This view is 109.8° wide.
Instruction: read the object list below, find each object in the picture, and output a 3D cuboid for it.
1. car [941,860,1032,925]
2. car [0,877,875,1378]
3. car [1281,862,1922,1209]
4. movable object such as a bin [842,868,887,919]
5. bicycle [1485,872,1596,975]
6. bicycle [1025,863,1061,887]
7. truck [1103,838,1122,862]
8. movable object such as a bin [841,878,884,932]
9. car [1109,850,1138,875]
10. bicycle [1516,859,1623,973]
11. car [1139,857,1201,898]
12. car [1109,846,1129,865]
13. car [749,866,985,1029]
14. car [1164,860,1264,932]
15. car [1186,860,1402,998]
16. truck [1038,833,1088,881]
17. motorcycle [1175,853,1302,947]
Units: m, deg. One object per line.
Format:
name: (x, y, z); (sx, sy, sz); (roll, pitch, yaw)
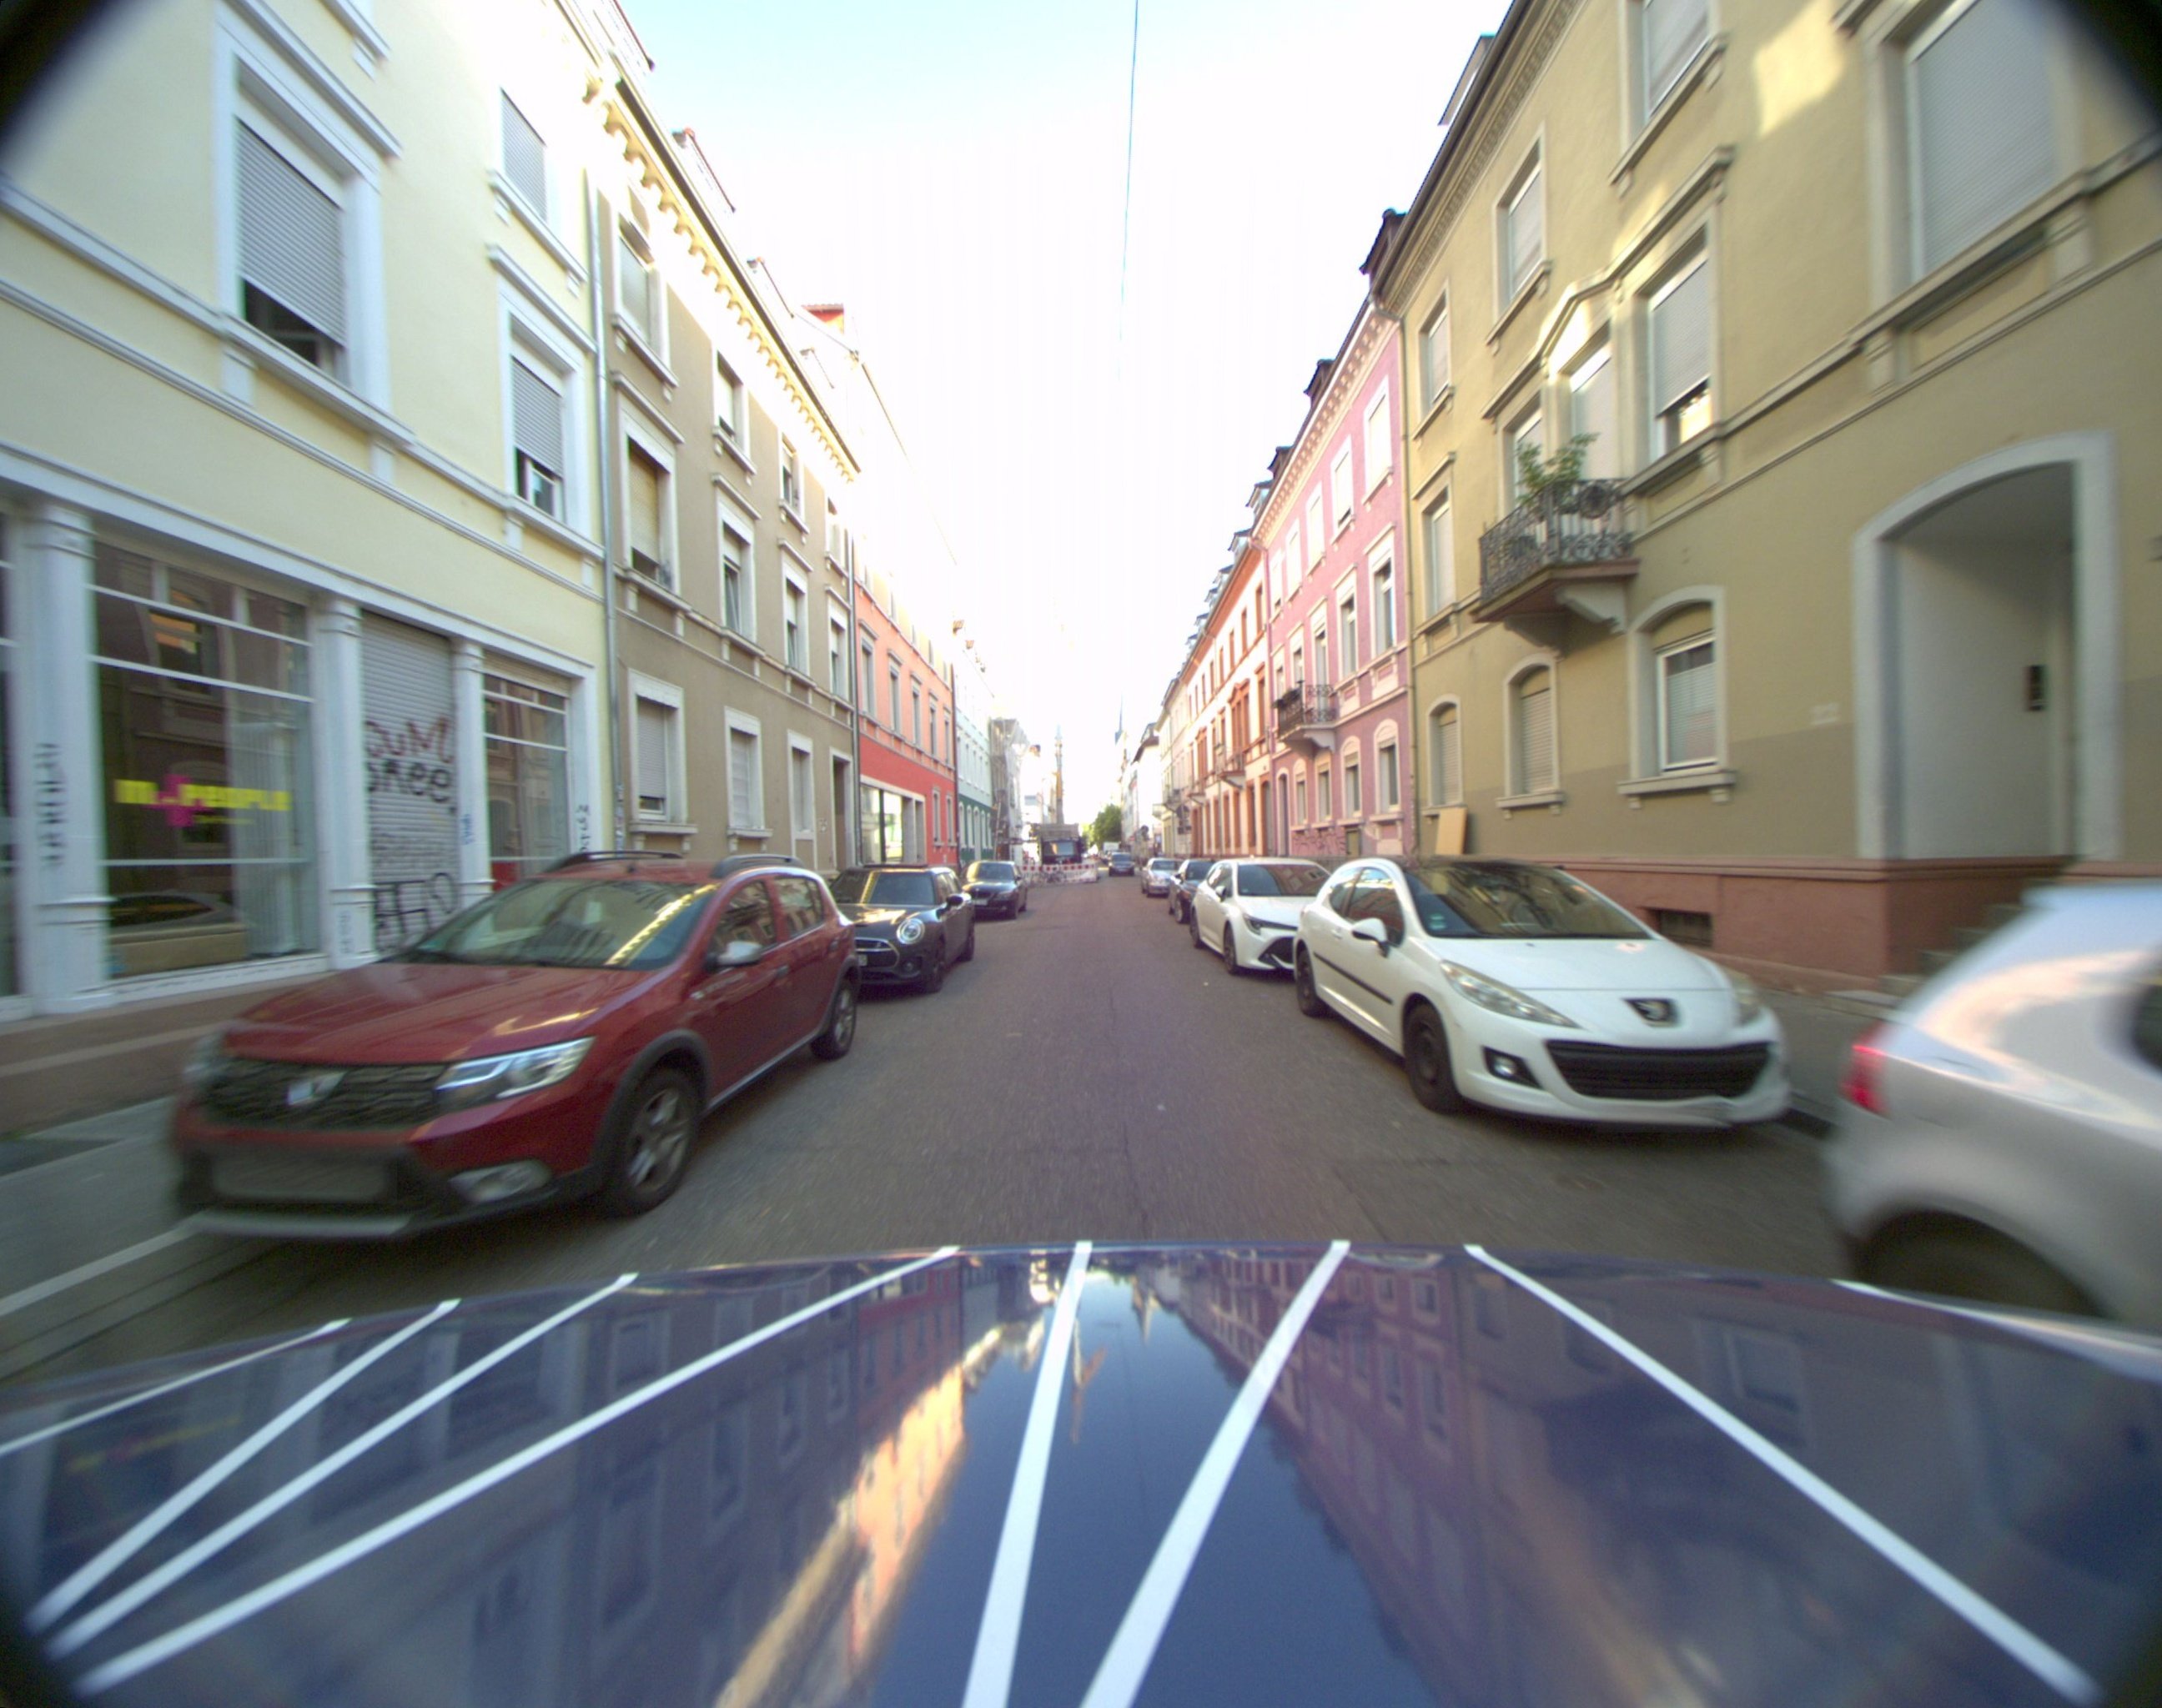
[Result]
car: (-2.405, 0.945, 20.462); (1.831, 1.474, 4.464); (-1, 0, 1)
car: (-2.739, 0.999, 4.587); (1.794, 1.542, 4.000); (-1, 0, 1)
car: (2.834, 0.826, 5.366); (1.794, 1.443, 4.000); (-1, 0, 0)
movable object such as a bin: (-4.822, 0.877, 16.966); (0.893, 1.102, 0.641); (0, 0, -10)
bicycle: (5.529, 0.791, 9.226); (0.418, 1.095, 1.494); (-3, 1, 1)
bicycle: (-1.945, 1.064, 38.946); (1.712, 1.130, 0.470); (-4, 1, -10)
truck: (4.610, -0.599, 111.504); (2.524, 3.271, 6.642); (-2, 0, 2)
movable object such as a bin: (-4.622, 1.073, 16.107); (0.717, 1.102, 0.642); (0, 0, 1)
car: (2.891, 0.543, 52.500); (1.832, 1.651, 4.213); (-1, 0, 1)
bicycle: (5.914, 0.698, 9.276); (0.319, 1.253, 1.494); (-3, 1, 1)
car: (3.178, 0.796, 27.806); (1.771, 1.335, 4.380); (0, 0, 0)
car: (4.130, 0.166, 82.868); (1.998, 2.002, 4.258); (-1, 0, 2)
car: (-2.484, 1.002, 10.032); (1.766, 1.513, 4.380); (-3, 0, 1)
car: (2.912, 0.872, 17.435); (1.730, 1.383, 4.303); (0, 0, 3)
car: (2.642, 0.847, 10.483); (1.792, 1.454, 4.199); (-1, 0, 0)
truck: (-1.054, 0.160, 49.386); (2.819, 2.735, 7.677); (-3, 0, 0)
motorcycle: (2.776, 0.776, 13.428); (1.969, 1.470, 0.822); (-4, 1, -19)
